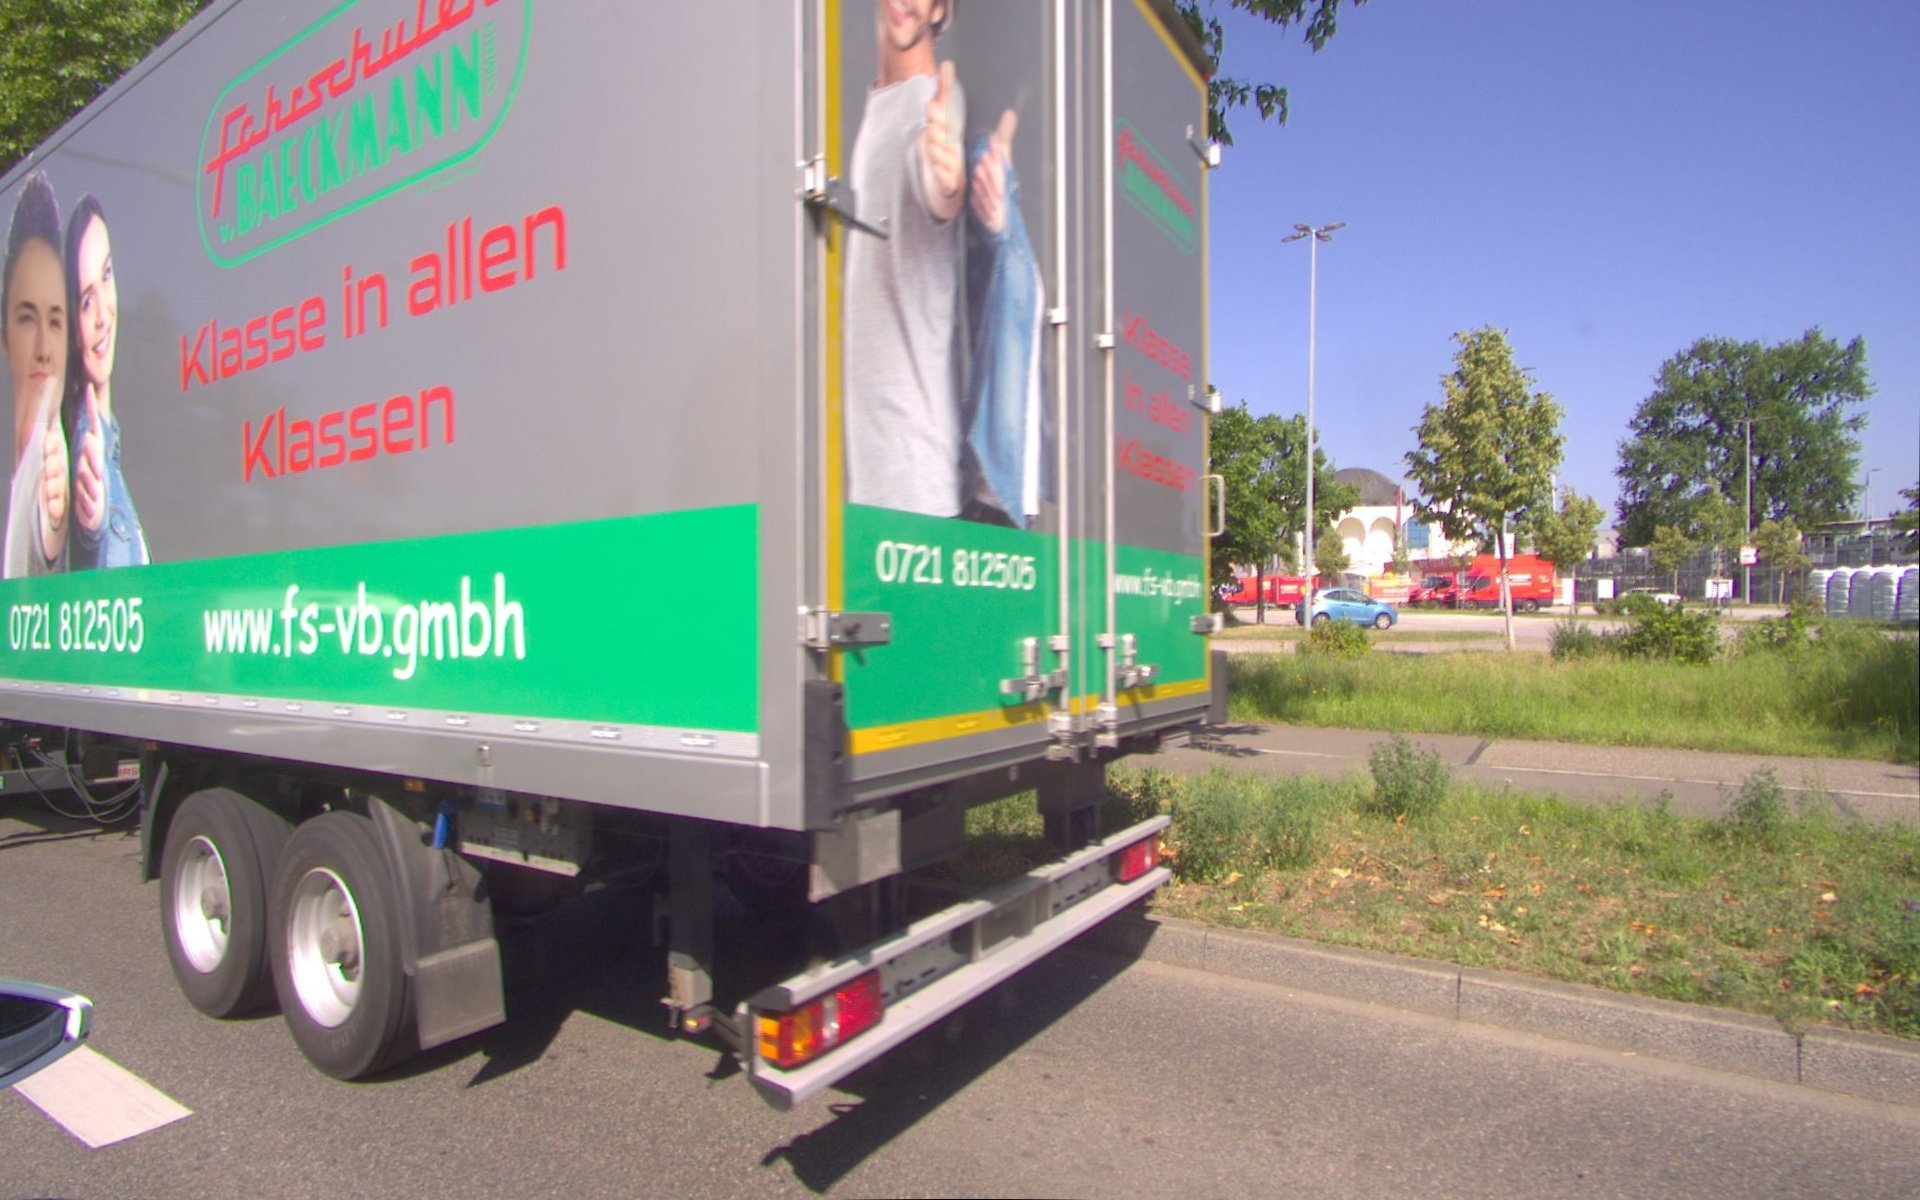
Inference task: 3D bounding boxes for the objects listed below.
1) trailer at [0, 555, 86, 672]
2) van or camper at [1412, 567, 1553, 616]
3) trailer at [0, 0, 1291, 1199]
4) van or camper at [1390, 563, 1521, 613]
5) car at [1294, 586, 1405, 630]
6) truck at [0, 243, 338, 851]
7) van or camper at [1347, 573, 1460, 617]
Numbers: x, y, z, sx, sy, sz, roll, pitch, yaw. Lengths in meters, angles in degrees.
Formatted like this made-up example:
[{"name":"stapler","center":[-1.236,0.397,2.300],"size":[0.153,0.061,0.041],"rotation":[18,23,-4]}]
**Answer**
[{"name":"trailer","center":[-30.972,0.367,29.565],"size":[2.858,3.668,12.666],"rotation":[0,-2,-17]},{"name":"van or camper","center":[30.229,-0.451,58.025],"size":[7.145,2.739,2.001],"rotation":[0,-1,-2]},{"name":"trailer","center":[-2.676,-0.442,4.817],"size":[7.631,3.927,2.729],"rotation":[-2,0,34]},{"name":"van or camper","center":[30.504,-0.698,61.775],"size":[7.145,2.979,2.001],"rotation":[0,-1,-2]},{"name":"car","center":[14.103,0.318,36.366],"size":[3.419,1.552,1.544],"rotation":[0,-2,1]},{"name":"truck","center":[-9.368,-0.238,9.490],"size":[8.606,3.940,2.722],"rotation":[-2,-1,35]},{"name":"van or camper","center":[31.487,-0.346,71.260],"size":[7.145,2.979,2.001],"rotation":[0,-1,-2]}]
